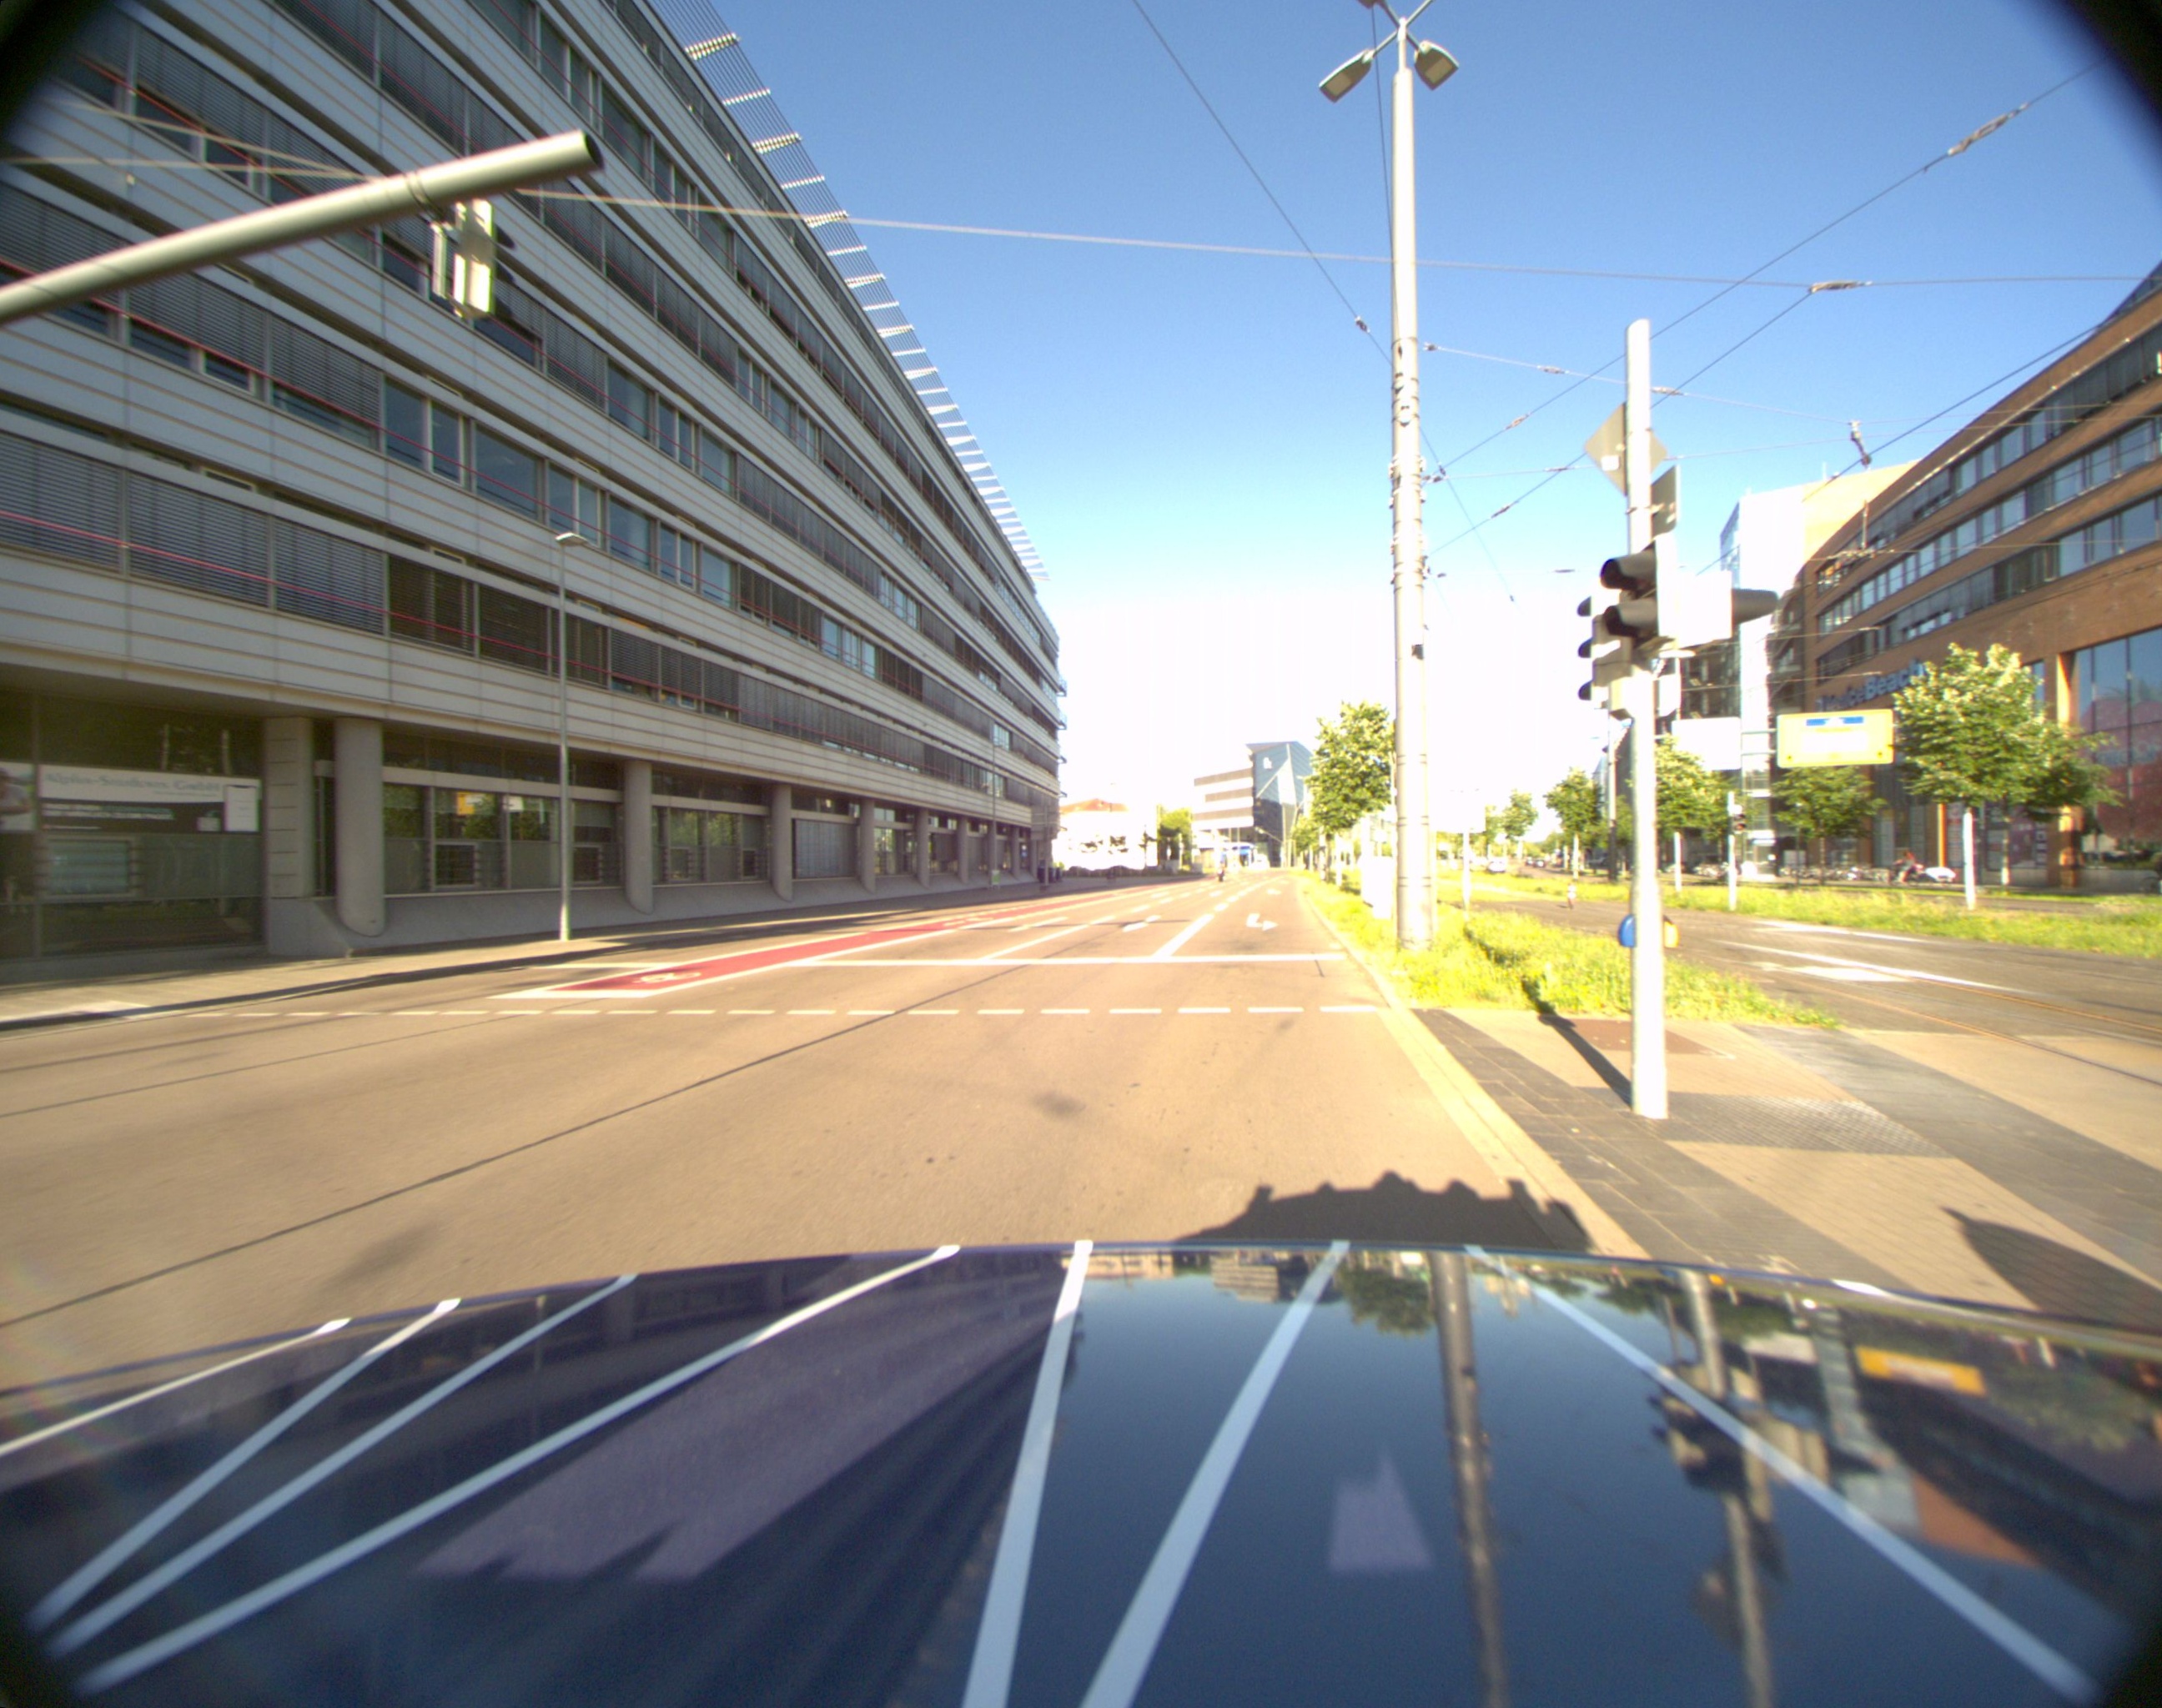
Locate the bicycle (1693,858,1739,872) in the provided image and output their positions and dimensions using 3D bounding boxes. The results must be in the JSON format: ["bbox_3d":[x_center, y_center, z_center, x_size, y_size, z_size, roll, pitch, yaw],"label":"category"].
[{"bbox_3d":[51.192,0.922,61.255,2.685,1.097,0.897,-1,-1,25],"label":"bicycle"}]

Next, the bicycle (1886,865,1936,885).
[{"bbox_3d":[42.185,1.053,38.661,0.690,0.944,2.069,-1,0,14],"label":"bicycle"}]

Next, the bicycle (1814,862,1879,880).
[{"bbox_3d":[46.914,1.031,46.611,2.685,1.097,0.897,-1,-1,25],"label":"bicycle"}]

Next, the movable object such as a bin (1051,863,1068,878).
[{"bbox_3d":[-1.881,1.408,66.182,1.172,1.293,1.330,-1,0,15],"label":"movable object such as a bin"}]

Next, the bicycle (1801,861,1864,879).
[{"bbox_3d":[47.314,1.025,47.893,2.685,1.097,0.897,-1,-1,25],"label":"bicycle"}]

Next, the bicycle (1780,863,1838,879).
[{"bbox_3d":[49.354,1.138,51.530,2.685,1.097,0.897,-1,-1,25],"label":"bicycle"}]

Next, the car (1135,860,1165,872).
[{"bbox_3d":[9.043,1.528,100.173,1.744,1.523,3.791,-1,0,-39],"label":"car"}]

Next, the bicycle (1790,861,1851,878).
[{"bbox_3d":[48.037,1.007,49.401,2.685,1.097,0.897,-1,-1,25],"label":"bicycle"}]

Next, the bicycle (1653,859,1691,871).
[{"bbox_3d":[55.669,1.061,71.580,2.685,1.097,0.897,-1,-1,25],"label":"bicycle"}]

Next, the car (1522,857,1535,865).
[{"bbox_3d":[88.966,1.343,150.964,1.622,1.519,4.365,1,0,39],"label":"car"}]

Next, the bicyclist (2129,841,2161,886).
[{"bbox_3d":[37.190,0.330,26.159,0.894,1.539,0.940,0,-1,15],"label":"bicyclist"}]

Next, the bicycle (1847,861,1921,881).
[{"bbox_3d":[44.807,0.923,42.421,2.685,1.097,0.897,-1,-1,25],"label":"bicycle"}]

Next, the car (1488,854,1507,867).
[{"bbox_3d":[48.343,0.765,88.236,1.623,1.519,4.812,-1,0,25],"label":"car"}]

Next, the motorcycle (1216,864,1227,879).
[{"bbox_3d":[11.821,1.434,63.866,0.820,1.214,2.258,0,0,12],"label":"motorcycle"}]

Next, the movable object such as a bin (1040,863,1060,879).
[{"bbox_3d":[-2.507,1.375,61.644,1.326,1.293,1.175,-1,0,15],"label":"movable object such as a bin"}]

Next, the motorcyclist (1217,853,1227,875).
[{"bbox_3d":[11.860,0.815,64.011,0.820,1.846,1.113,0,0,12],"label":"motorcyclist"}]

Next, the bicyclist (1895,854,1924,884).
[{"bbox_3d":[42.186,0.748,38.694,0.690,1.521,0.703,-1,0,14],"label":"bicyclist"}]

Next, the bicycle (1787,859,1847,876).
[{"bbox_3d":[48.836,0.890,50.464,2.685,1.097,0.897,-1,-1,25],"label":"bicycle"}]

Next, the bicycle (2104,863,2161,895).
[{"bbox_3d":[37.190,0.860,26.157,0.894,1.097,2.695,0,-1,16],"label":"bicycle"}]

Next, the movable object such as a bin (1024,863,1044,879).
[{"bbox_3d":[-3.818,1.390,62.016,1.326,1.293,1.175,-1,0,15],"label":"movable object such as a bin"}]

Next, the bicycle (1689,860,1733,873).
[{"bbox_3d":[52.173,1.038,62.939,2.685,1.097,0.897,-1,-1,25],"label":"bicycle"}]

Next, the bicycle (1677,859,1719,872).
[{"bbox_3d":[53.755,1.006,66.238,2.685,1.097,0.897,-1,-1,25],"label":"bicycle"}]
